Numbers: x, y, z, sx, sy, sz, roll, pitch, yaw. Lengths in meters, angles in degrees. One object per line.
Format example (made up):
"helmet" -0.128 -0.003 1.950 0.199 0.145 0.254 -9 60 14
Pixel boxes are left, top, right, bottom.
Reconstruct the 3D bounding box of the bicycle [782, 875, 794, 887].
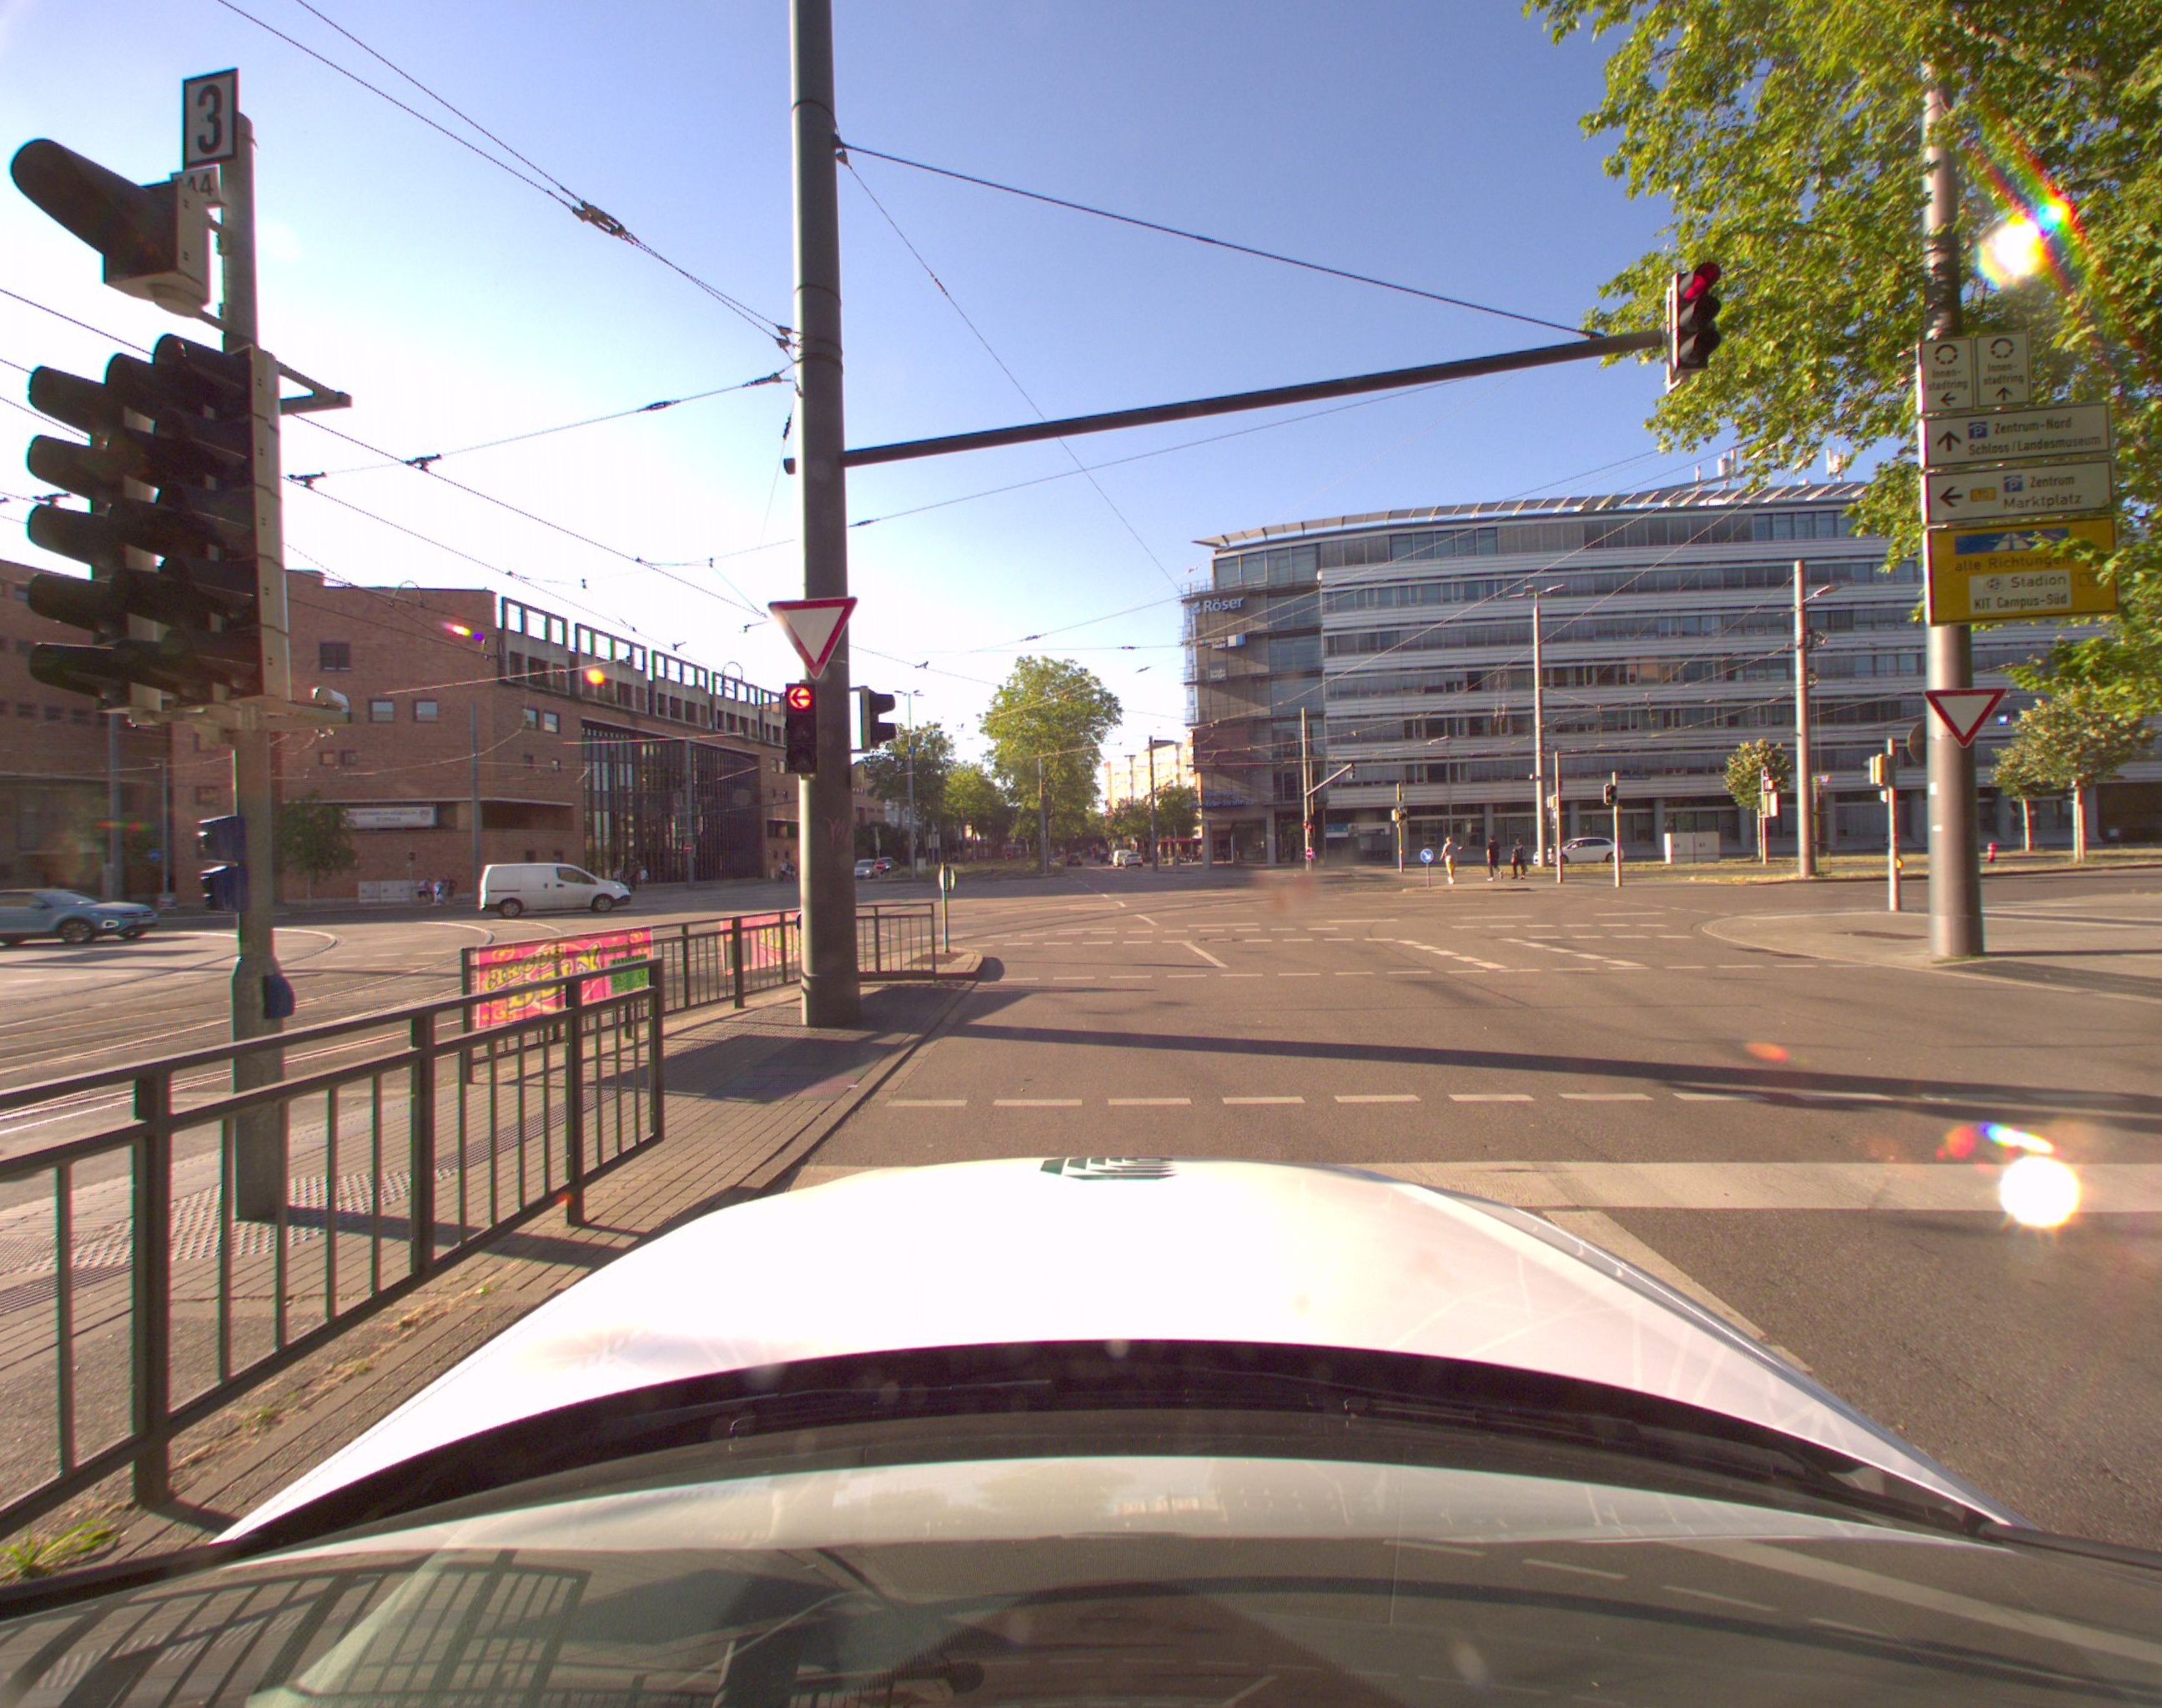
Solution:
"bicycle" -24.917 2.326 69.280 0.466 0.963 1.320 -2 0 2

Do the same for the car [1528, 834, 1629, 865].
"car" 26.737 -0.237 43.879 4.272 1.488 1.765 -2 0 7

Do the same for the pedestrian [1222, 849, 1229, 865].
"pedestrian" 13.620 0.268 76.727 0.608 1.507 0.580 -2 0 9

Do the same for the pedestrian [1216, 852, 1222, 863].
"pedestrian" 20.958 0.521 123.620 0.741 1.714 0.612 -2 0 1

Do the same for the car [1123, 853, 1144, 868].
"car" 5.292 0.622 82.836 1.986 1.376 4.002 -2 0 2

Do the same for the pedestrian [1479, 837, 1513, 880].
"pedestrian" 16.877 0.169 33.115 0.907 1.685 1.038 -2 0 9

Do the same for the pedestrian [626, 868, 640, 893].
"pedestrian" -31.466 1.844 57.256 0.587 1.683 0.552 -2 0 6

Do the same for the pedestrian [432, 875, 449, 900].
"pedestrian" -38.035 1.972 48.373 0.568 1.453 0.612 -2 0 -13

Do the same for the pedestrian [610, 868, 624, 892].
"pedestrian" -33.507 1.865 58.813 0.568 1.683 0.551 -2 0 10

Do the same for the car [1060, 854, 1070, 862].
"car" -2.896 0.801 146.994 1.792 1.442 3.999 0 -1 0

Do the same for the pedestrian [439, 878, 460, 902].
"pedestrian" -36.536 2.078 47.108 0.597 1.339 0.684 -2 0 17

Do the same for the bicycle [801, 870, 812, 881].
"bicycle" -24.354 1.905 72.365 0.449 0.963 1.348 -2 0 2

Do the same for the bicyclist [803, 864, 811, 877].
"bicyclist" -24.340 1.448 72.316 0.503 1.179 0.581 -2 0 1

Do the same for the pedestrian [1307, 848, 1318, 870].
"pedestrian" 15.803 0.342 55.621 0.608 1.507 0.580 -2 0 9

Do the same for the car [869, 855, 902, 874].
"car" -18.114 0.966 75.542 1.987 1.640 4.001 -2 0 1

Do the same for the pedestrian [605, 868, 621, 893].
"pedestrian" -32.611 1.827 56.736 0.645 1.683 0.624 -2 0 9

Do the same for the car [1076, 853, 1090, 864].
"car" 0.313 0.676 115.882 1.791 1.442 4.002 -2 0 2

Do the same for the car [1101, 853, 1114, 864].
"car" 4.095 0.658 126.792 1.986 1.618 4.002 -2 0 2

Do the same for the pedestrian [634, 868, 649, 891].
"pedestrian" -31.759 1.857 58.838 0.606 1.625 0.621 -2 0 16

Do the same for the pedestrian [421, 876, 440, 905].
"pedestrian" -37.554 2.086 47.051 0.597 1.648 0.549 -2 0 1

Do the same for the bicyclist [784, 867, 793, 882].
"bicyclist" -24.918 1.746 69.348 0.503 1.304 0.581 -2 0 1

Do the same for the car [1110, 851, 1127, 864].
"car" 4.823 0.479 105.310 1.986 1.618 4.002 -2 0 2

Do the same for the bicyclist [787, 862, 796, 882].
"bicyclist" -23.618 1.434 66.541 0.456 1.603 0.581 -2 0 1

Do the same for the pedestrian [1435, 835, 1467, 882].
"pedestrian" 14.455 0.158 31.839 0.858 1.788 0.874 -2 0 9

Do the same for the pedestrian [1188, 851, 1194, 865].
"pedestrian" 14.175 0.485 104.863 0.741 1.714 0.612 -2 0 1

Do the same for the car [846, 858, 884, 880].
"car" -18.004 1.222 67.967 1.987 1.640 4.001 -2 0 1

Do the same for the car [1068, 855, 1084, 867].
"car" -0.661 0.883 103.283 1.791 1.442 4.002 -2 0 2

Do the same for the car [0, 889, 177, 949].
"car" -28.206 1.792 22.460 4.099 1.426 1.624 -2 0 -17

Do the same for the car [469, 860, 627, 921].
"car" -18.852 1.227 28.905 4.547 1.867 1.741 -2 0 -38

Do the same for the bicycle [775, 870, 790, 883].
"bicycle" -24.310 1.846 66.327 0.540 0.963 1.587 -2 0 2

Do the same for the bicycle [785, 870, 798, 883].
"bicycle" -23.614 1.828 66.469 0.471 0.963 1.576 -2 0 2

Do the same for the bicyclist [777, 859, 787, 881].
"bicyclist" -24.329 1.319 66.343 0.534 1.731 0.581 -2 0 1

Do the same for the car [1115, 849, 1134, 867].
"car" 4.746 0.451 89.654 1.986 1.860 4.002 -2 0 2

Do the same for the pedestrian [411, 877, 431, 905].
"pedestrian" -38.457 2.145 47.446 0.594 1.614 0.589 -2 0 1

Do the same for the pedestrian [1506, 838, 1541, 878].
"pedestrian" 17.825 0.162 32.809 0.943 1.564 0.899 -2 0 9
